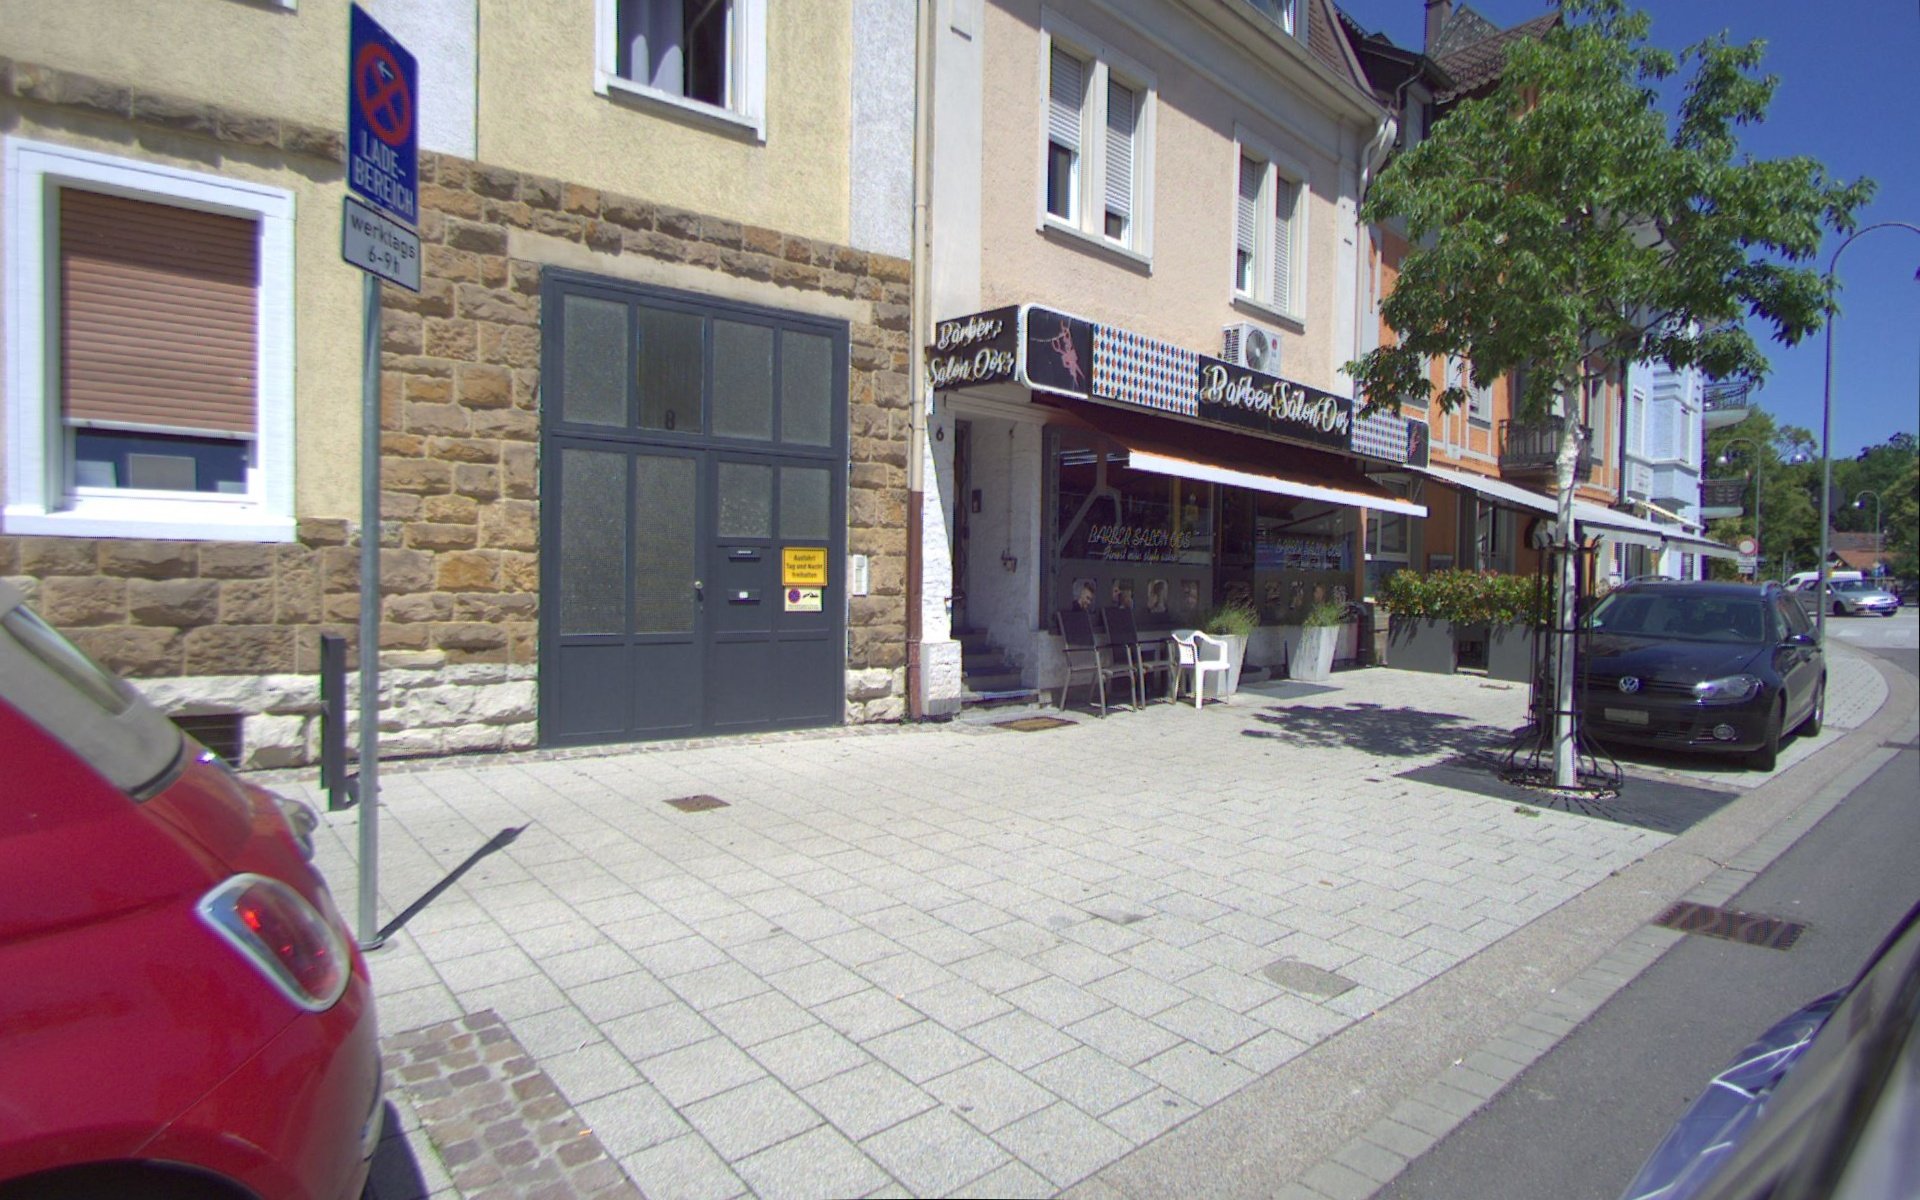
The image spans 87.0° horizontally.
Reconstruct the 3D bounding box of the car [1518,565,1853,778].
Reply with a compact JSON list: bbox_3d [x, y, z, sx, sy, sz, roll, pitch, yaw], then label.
[{"bbox_3d":[6.945,0.474,9.499,4.252,1.490,1.732,-1,4,-44],"label":"car"}]

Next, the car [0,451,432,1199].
[{"bbox_3d":[-2.638,0.541,1.133,3.329,1.532,1.682,-1,4,-42],"label":"car"}]

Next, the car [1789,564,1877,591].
[{"bbox_3d":[83.349,-2.095,96.712,6.337,2.492,2.273,1,1,41],"label":"car"}]

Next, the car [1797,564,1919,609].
[{"bbox_3d":[34.621,-0.525,38.987,1.970,1.616,4.174,-1,1,13],"label":"car"}]
